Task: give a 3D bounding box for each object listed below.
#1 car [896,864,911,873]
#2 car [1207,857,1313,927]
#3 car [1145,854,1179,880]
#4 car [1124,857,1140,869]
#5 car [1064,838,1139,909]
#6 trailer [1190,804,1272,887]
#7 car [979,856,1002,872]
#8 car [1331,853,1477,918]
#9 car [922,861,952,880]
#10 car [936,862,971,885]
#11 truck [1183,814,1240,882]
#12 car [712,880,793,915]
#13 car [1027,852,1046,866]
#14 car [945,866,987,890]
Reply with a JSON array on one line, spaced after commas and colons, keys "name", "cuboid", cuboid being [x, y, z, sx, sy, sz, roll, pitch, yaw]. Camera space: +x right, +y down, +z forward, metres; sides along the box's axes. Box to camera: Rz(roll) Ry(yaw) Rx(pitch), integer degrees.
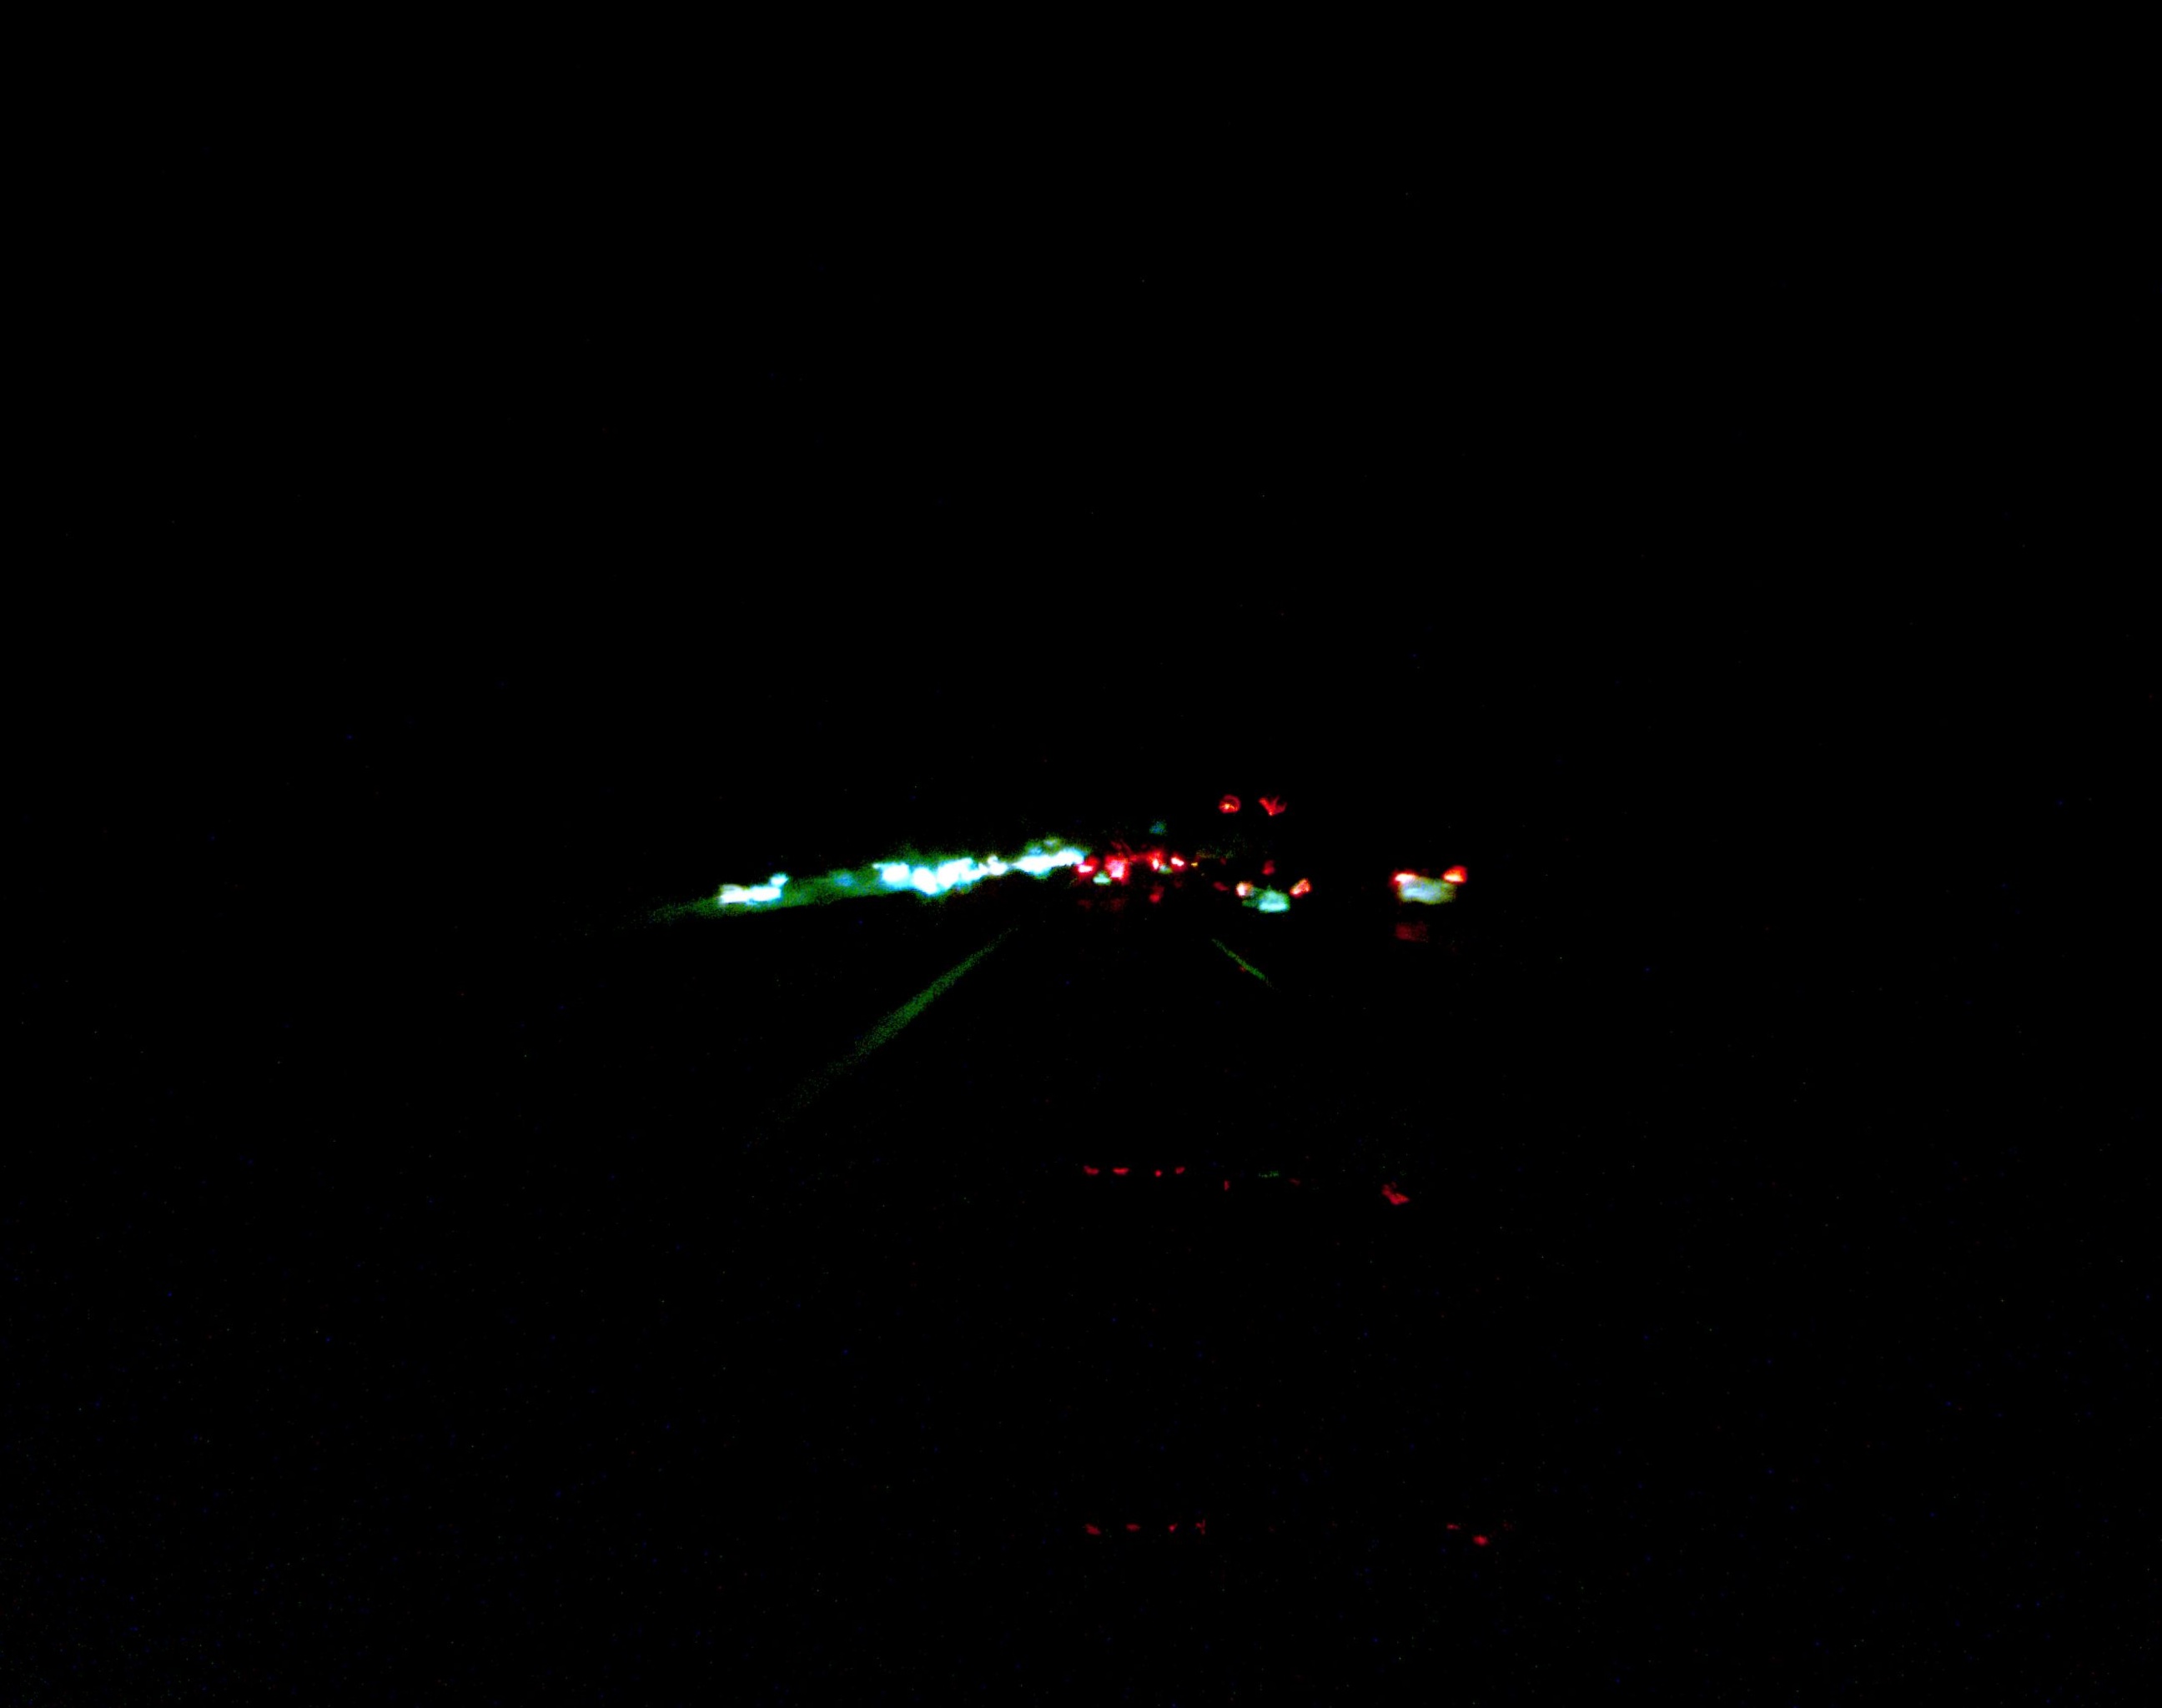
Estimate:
[{"name": "car", "cuboid": [-30.875, 2.462, 141.889, 1.858, 1.471, 4.350, 0, -1, -2]}, {"name": "car", "cuboid": [3.974, 0.792, 18.612, 1.607, 1.412, 3.792, -1, 0, 0]}, {"name": "car", "cuboid": [5.133, 0.801, 52.016, 1.877, 1.588, 4.001, -1, 0, 1]}, {"name": "car", "cuboid": [7.034, 1.252, 112.065, 2.128, 1.618, 4.002, 0, -1, 2]}, {"name": "car", "cuboid": [0.785, 0.740, 33.711, 2.701, 2.534, 5.830, -3, 0, 0]}, {"name": "trailer", "cuboid": [8.491, -0.399, 47.747, 2.793, 4.212, 12.100, -1, 0, 2]}, {"name": "car", "cuboid": [-10.112, 1.112, 91.433, 1.987, 1.616, 4.746, -3, 0, 1]}, {"name": "car", "cuboid": [8.212, 0.726, 21.278, 1.888, 1.486, 4.962, 0, 0, 1]}, {"name": "car", "cuboid": [-13.562, 1.540, 76.719, 1.865, 1.616, 4.502, -3, 0, 1]}, {"name": "car", "cuboid": [-9.798, 1.471, 62.919, 1.644, 1.582, 5.130, -1, 0, 2]}, {"name": "truck", "cuboid": [8.660, -0.379, 54.989, 2.793, 4.267, 7.450, -1, 0, 1]}, {"name": "car", "cuboid": [-15.143, 1.965, 37.774, 1.955, 1.345, 4.288, -1, 0, 1]}, {"name": "car", "cuboid": [-5.587, 0.619, 103.182, 1.987, 1.616, 4.418, -3, 0, 1]}, {"name": "car", "cuboid": [-7.163, 1.468, 51.232, 1.955, 1.345, 4.288, -1, 0, 1]}]
